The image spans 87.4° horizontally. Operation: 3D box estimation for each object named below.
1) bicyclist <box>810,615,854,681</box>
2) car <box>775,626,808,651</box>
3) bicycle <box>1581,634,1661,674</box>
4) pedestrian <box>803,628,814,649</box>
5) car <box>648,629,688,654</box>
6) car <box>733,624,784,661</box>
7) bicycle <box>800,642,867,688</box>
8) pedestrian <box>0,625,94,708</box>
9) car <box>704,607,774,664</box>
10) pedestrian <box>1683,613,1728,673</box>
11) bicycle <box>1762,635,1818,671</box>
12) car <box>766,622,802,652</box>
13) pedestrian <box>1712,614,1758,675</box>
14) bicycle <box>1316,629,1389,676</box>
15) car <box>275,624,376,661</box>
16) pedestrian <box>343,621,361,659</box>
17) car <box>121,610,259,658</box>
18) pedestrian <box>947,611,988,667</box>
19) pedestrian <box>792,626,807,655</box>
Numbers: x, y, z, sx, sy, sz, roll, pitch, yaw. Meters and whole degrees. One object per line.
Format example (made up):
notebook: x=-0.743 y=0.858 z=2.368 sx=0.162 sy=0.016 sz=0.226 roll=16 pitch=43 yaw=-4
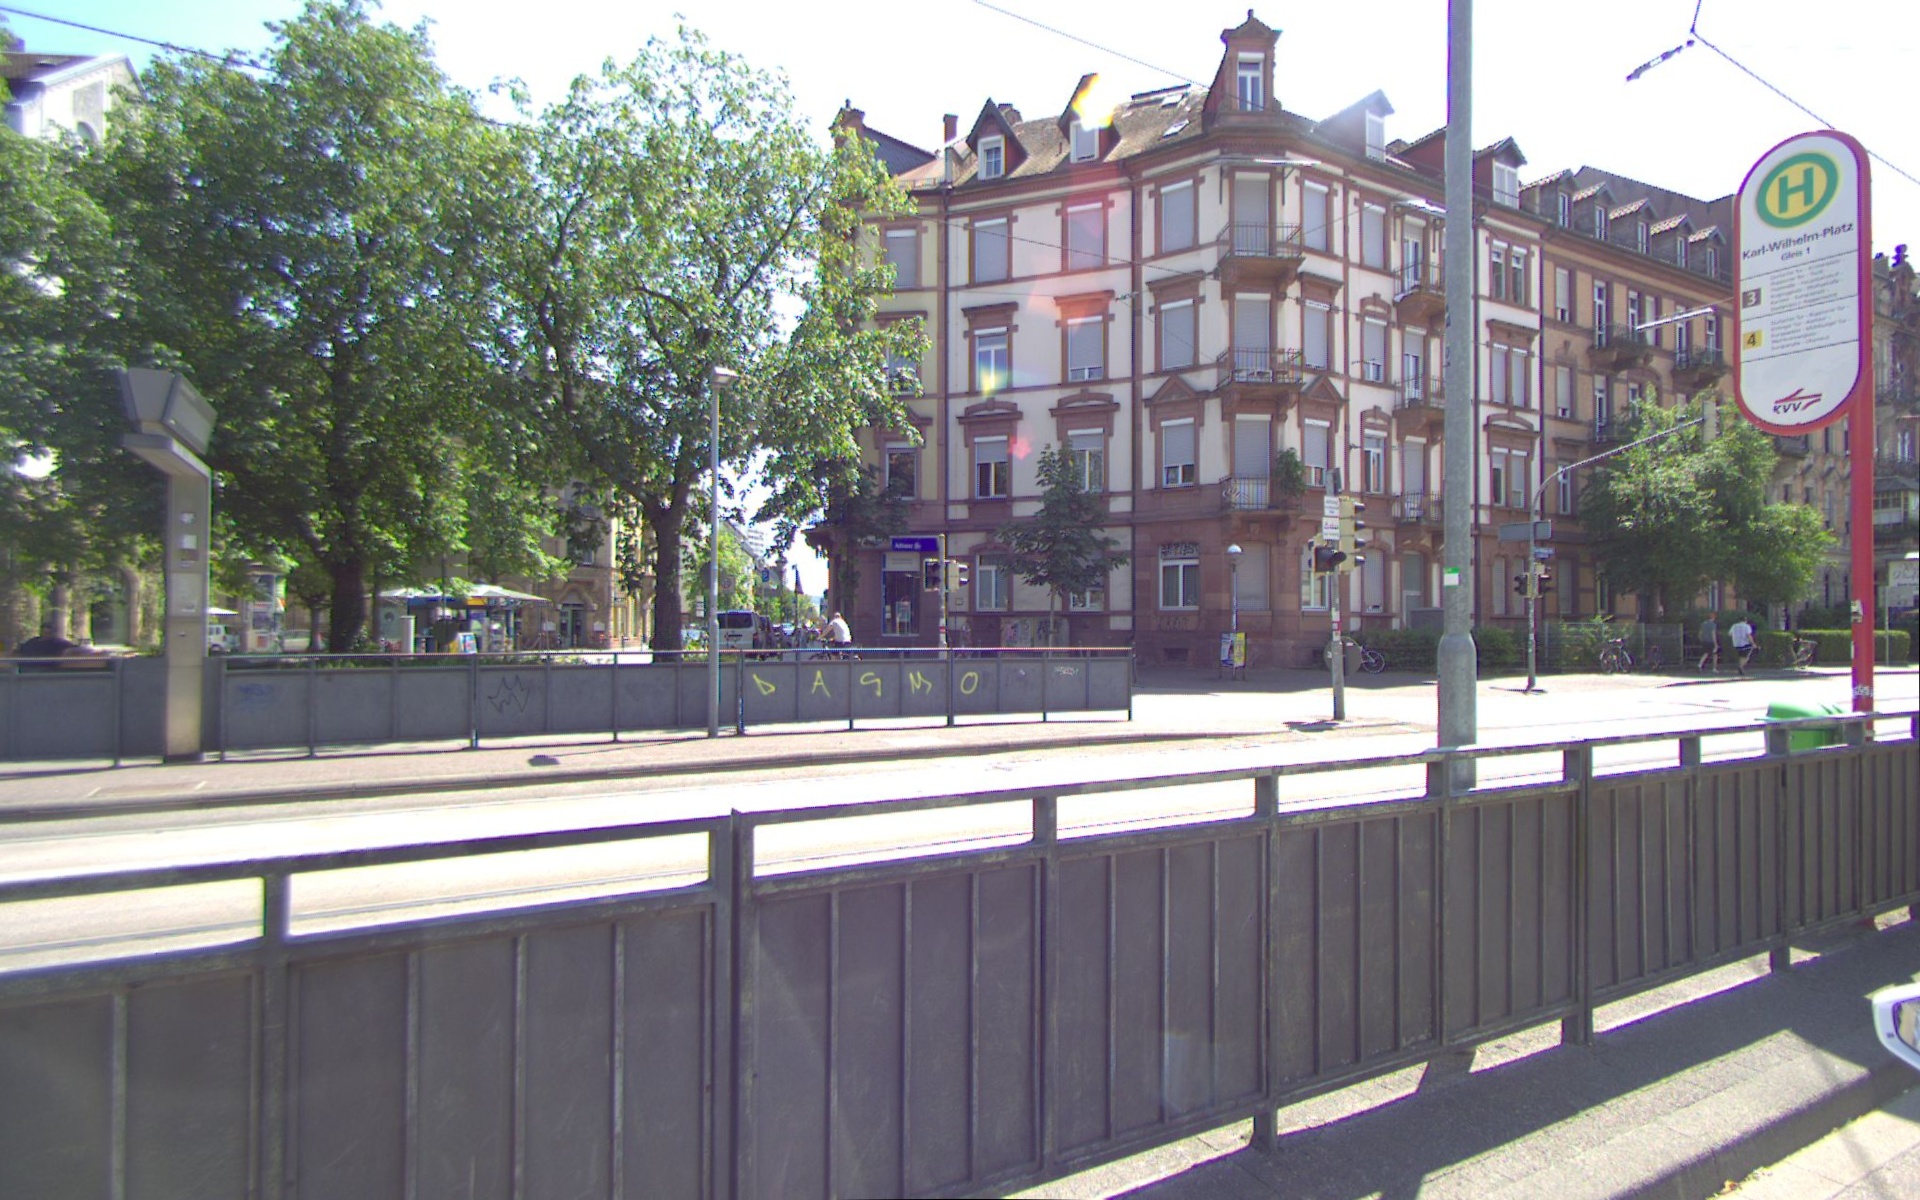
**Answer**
bicyclist: x=-3.229 y=1.202 z=25.378 sx=0.837 sy=1.613 sz=0.696 roll=0 pitch=-1 yaw=42
car: x=-12.490 y=2.846 z=74.760 sx=1.962 sy=1.617 sz=3.998 roll=2 pitch=0 yaw=-4
bicycle: x=20.223 y=1.645 z=30.719 sx=2.742 sy=1.151 sz=0.932 roll=2 pitch=0 yaw=-31
pedestrian: x=-11.942 y=3.012 z=79.255 sx=0.742 sy=1.632 sz=0.688 roll=0 pitch=-1 yaw=-4
car: x=-20.666 y=2.919 z=71.165 sx=1.846 sy=1.617 sz=3.998 roll=2 pitch=0 yaw=-4
car: x=-9.631 y=2.013 z=48.291 sx=1.893 sy=1.541 sz=3.998 roll=2 pitch=0 yaw=-4
bicycle: x=-3.203 y=1.621 z=25.361 sx=1.741 sy=1.070 sz=0.696 roll=0 pitch=-1 yaw=42
pedestrian: x=-14.665 y=1.047 z=16.107 sx=0.925 sy=1.261 sz=0.860 roll=2 pitch=0 yaw=-24
car: x=-8.334 y=1.301 z=38.219 sx=1.962 sy=1.970 sz=3.998 roll=2 pitch=0 yaw=-4
pedestrian: x=23.466 y=1.346 z=31.612 sx=0.862 sy=1.847 sz=0.813 roll=0 pitch=1 yaw=-27
bicycle: x=28.515 y=1.802 z=34.494 sx=2.750 sy=1.151 sz=0.930 roll=2 pitch=0 yaw=-39
car: x=-10.379 y=2.179 z=59.456 sx=1.684 sy=1.617 sz=3.998 roll=2 pitch=0 yaw=-4
pedestrian: x=23.890 y=1.350 z=30.953 sx=0.862 sy=1.847 sz=0.813 roll=0 pitch=1 yaw=-27
bicycle: x=11.660 y=1.558 z=29.865 sx=1.923 sy=1.312 sz=0.564 roll=2 pitch=0 yaw=11
car: x=-32.082 y=2.163 z=50.892 sx=3.920 sy=1.730 sz=1.761 roll=2 pitch=0 yaw=-14
pedestrian: x=-26.959 y=1.780 z=44.558 sx=0.506 sy=1.692 sz=0.491 roll=0 pitch=-1 yaw=-8
car: x=-31.195 y=1.371 z=40.817 sx=3.932 sy=1.814 sz=1.994 roll=2 pitch=0 yaw=-14
pedestrian: x=0.233 y=1.212 z=31.247 sx=1.043 sy=1.712 sz=0.721 roll=-1 pitch=-1 yaw=31
pedestrian: x=-9.276 y=2.346 z=58.157 sx=0.790 sy=1.632 sz=0.731 roll=0 pitch=-1 yaw=-4
